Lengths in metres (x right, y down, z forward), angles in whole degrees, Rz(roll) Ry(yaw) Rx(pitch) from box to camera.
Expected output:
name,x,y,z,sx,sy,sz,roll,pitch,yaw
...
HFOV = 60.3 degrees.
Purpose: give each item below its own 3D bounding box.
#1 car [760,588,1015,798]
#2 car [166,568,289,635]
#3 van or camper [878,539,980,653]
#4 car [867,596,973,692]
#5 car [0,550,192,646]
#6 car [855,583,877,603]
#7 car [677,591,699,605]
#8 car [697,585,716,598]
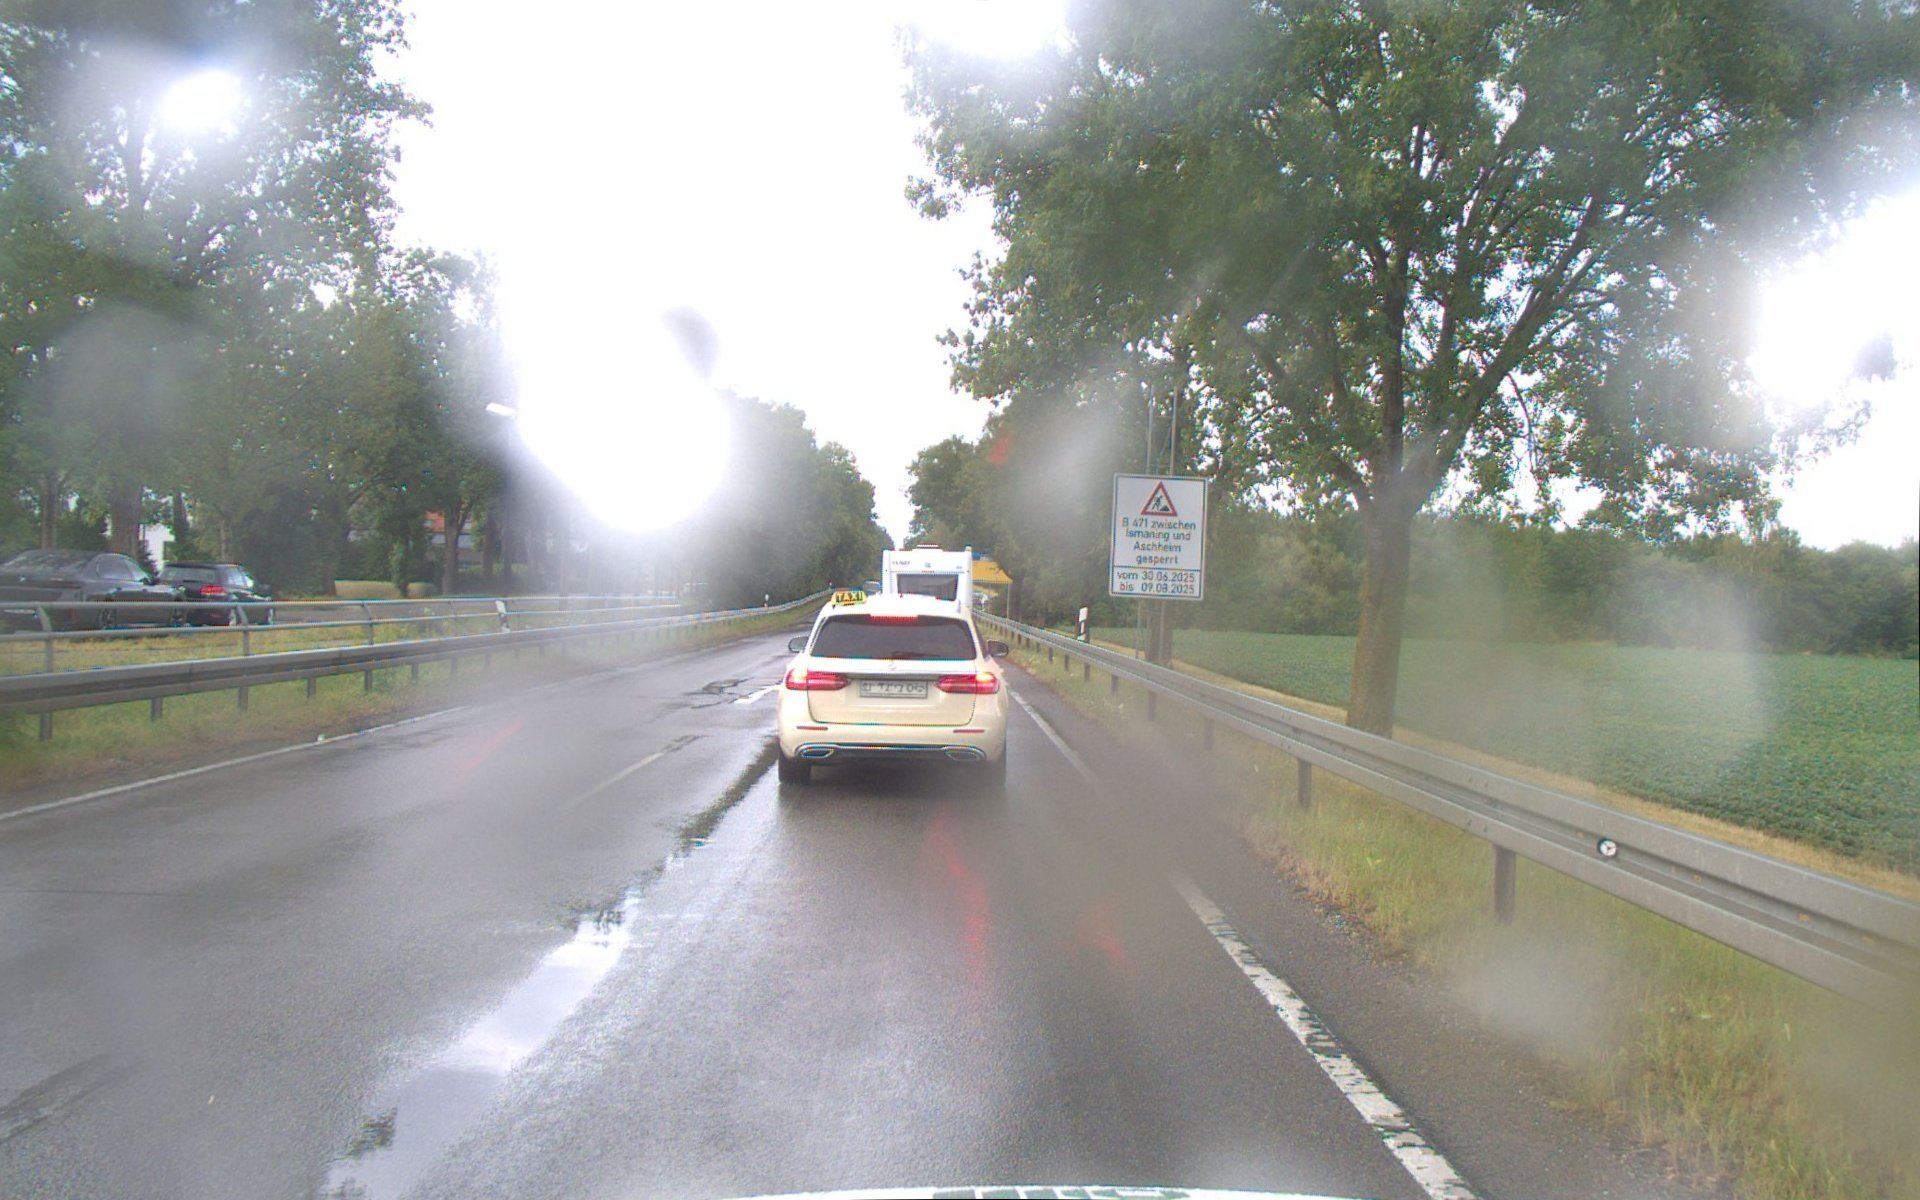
name,x,y,z,sx,sy,sz,roll,pitch,yaw
car,-0.529,0.663,13.964,1.827,1.502,4.000,1,0,0
car,-16.026,0.015,36.363,1.258,1.354,3.894,2,0,-5
van or camper,-0.759,-0.111,43.097,2.438,2.732,5.700,1,0,0
car,-0.619,0.667,27.460,1.630,1.456,4.000,0,0,0
car,-15.568,-0.061,29.780,1.486,1.517,5.116,2,0,-5
car,-7.716,-0.580,136.249,1.728,1.647,3.999,0,0,-2
car,-29.969,-0.252,182.343,1.749,1.440,4.000,2,0,0
car,-30.023,-0.967,195.795,1.750,1.440,3.998,2,0,-3
